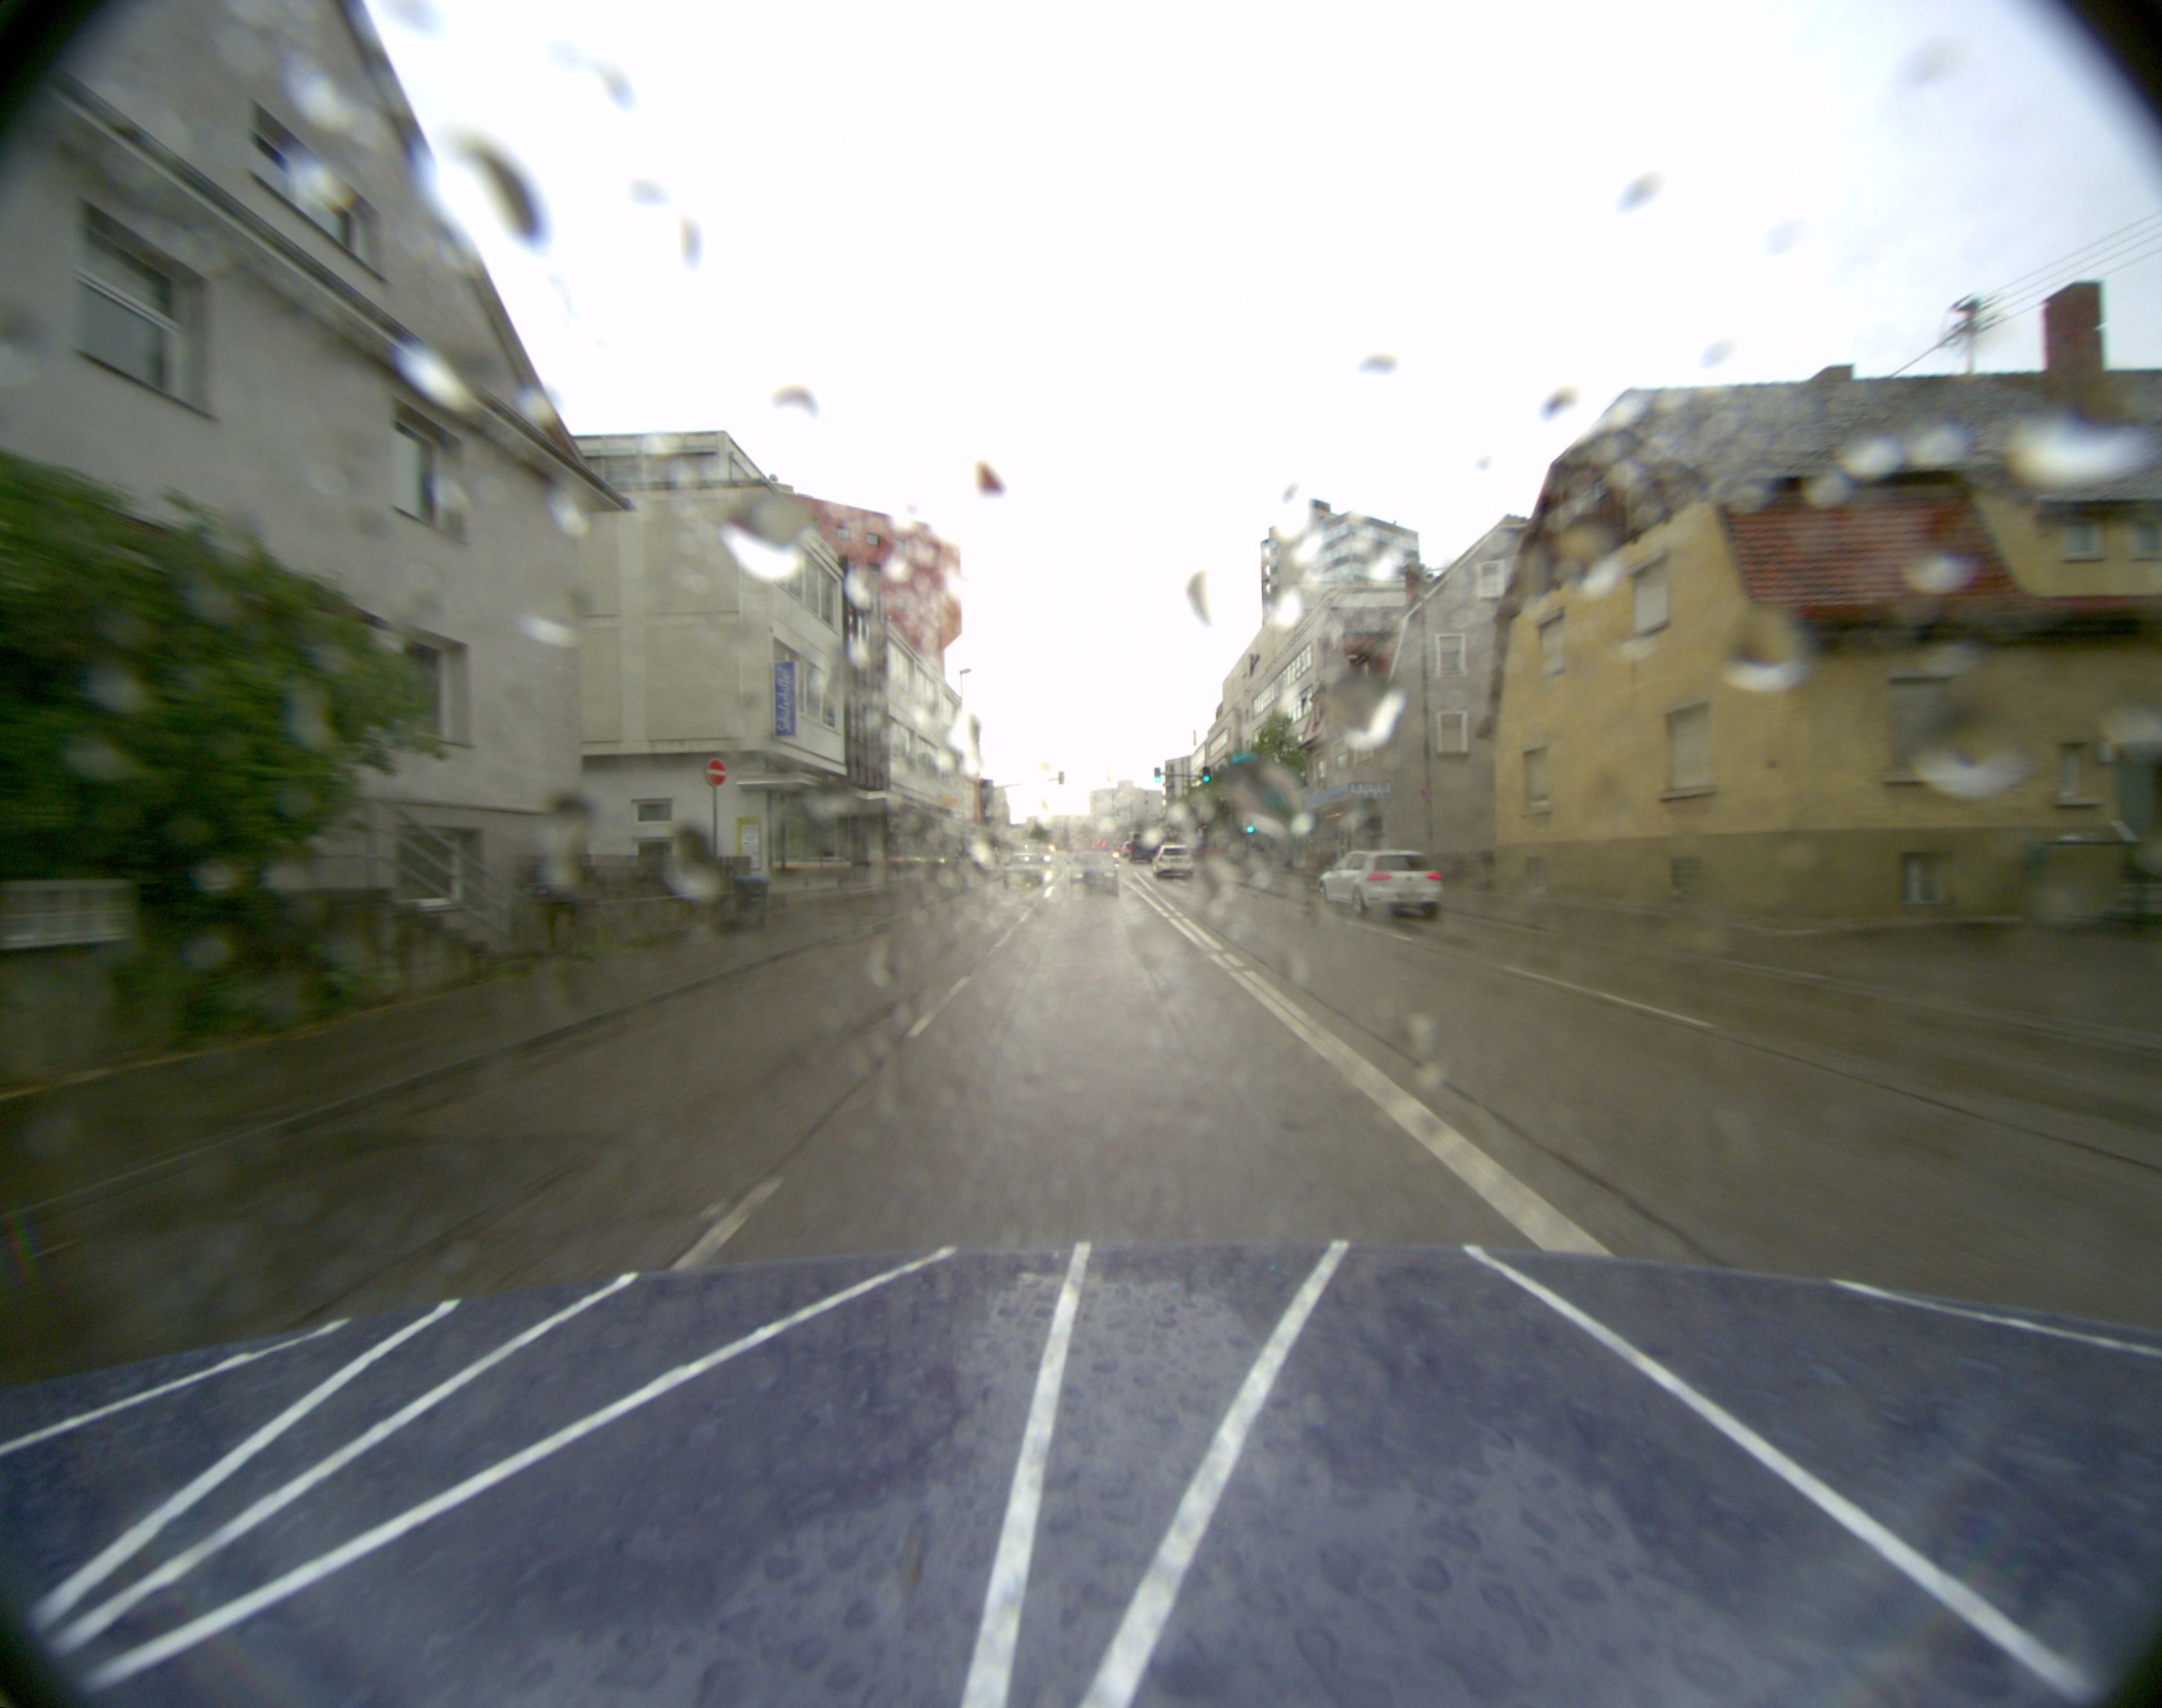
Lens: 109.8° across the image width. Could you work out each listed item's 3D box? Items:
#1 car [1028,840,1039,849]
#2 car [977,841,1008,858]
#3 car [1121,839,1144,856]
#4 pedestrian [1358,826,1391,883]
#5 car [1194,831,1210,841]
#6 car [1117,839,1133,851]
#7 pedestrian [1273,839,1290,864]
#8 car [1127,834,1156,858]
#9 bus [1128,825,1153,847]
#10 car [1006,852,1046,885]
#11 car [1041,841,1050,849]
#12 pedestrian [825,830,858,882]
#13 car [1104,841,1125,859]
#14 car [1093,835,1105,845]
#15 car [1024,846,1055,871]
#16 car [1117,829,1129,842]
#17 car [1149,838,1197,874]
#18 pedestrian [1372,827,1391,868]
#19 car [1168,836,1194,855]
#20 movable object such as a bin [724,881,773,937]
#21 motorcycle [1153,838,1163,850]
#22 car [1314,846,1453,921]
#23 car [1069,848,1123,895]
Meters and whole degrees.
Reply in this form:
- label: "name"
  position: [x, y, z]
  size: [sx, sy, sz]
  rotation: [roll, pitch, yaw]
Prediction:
- label: "car"
  position: [-6.652, -1.365, 107.260]
  size: [1.326, 1.178, 2.822]
  rotation: [0, 2, 1]
- label: "car"
  position: [-8.121, -0.390, 69.341]
  size: [1.618, 1.454, 3.415]
  rotation: [-2, 2, -28]
- label: "car"
  position: [5.691, -0.770, 83.838]
  size: [2.104, 1.703, 4.847]
  rotation: [-1, 2, -1]
- label: "pedestrian"
  position: [10.257, 0.008, 26.579]
  size: [0.663, 1.910, 0.946]
  rotation: [-3, 2, -7]
- label: "car"
  position: [17.396, -2.667, 109.277]
  size: [1.757, 1.402, 3.729]
  rotation: [0, 2, 1]
- label: "car"
  position: [5.468, -1.100, 94.977]
  size: [1.762, 1.426, 4.379]
  rotation: [0, 2, 1]
- label: "pedestrian"
  position: [14.670, -0.214, 55.677]
  size: [0.927, 1.779, 1.233]
  rotation: [-1, 2, -1]
- label: "car"
  position: [5.165, -0.740, 65.533]
  size: [1.971, 1.927, 5.177]
  rotation: [-1, 2, -1]
- label: "bus"
  position: [8.939, -2.807, 115.513]
  size: [2.899, 3.082, 11.995]
  rotation: [0, 2, 1]
- label: "car"
  position: [-2.496, 0.626, 35.398]
  size: [1.662, 1.300, 3.993]
  rotation: [-1, 2, -1]
- label: "car"
  position: [-5.993, -1.509, 128.639]
  size: [1.394, 1.317, 2.860]
  rotation: [-1, 2, -1]
- label: "pedestrian"
  position: [-8.304, 0.060, 26.372]
  size: [0.730, 1.770, 0.953]
  rotation: [-1, 0, 9]
- label: "car"
  position: [2.869, -0.399, 66.396]
  size: [1.719, 1.442, 4.197]
  rotation: [0, 2, 1]
- label: "car"
  position: [2.689, -2.093, 112.389]
  size: [1.711, 1.508, 4.391]
  rotation: [0, 2, 2]
- label: "car"
  position: [-2.972, 0.300, 54.874]
  size: [2.058, 1.638, 4.477]
  rotation: [-1, 2, -3]
- label: "car"
  position: [6.259, -2.786, 114.031]
  size: [1.637, 2.002, 4.284]
  rotation: [0, 2, 2]
- label: "car"
  position: [4.530, 0.062, 38.069]
  size: [1.883, 1.600, 4.717]
  rotation: [-1, 2, 1]
- label: "pedestrian"
  position: [11.574, -0.257, 29.294]
  size: [0.544, 1.549, 0.446]
  rotation: [-1, 2, 1]
- label: "car"
  position: [8.847, -0.787, 67.658]
  size: [2.005, 1.609, 4.948]
  rotation: [0, 2, 4]
- label: "movable object such as a bin"
  position: [-6.439, 1.051, 14.734]
  size: [0.577, 1.042, 0.830]
  rotation: [0, 0, 1]
- label: "motorcycle"
  position: [8.126, -1.079, 80.357]
  size: [0.909, 1.276, 2.184]
  rotation: [0, 2, 1]
- label: "car"
  position: [6.867, 0.582, 17.757]
  size: [1.653, 1.410, 4.137]
  rotation: [2, 2, 2]
- label: "car"
  position: [0.465, 0.545, 26.585]
  size: [1.688, 1.373, 3.792]
  rotation: [-2, 2, -1]
